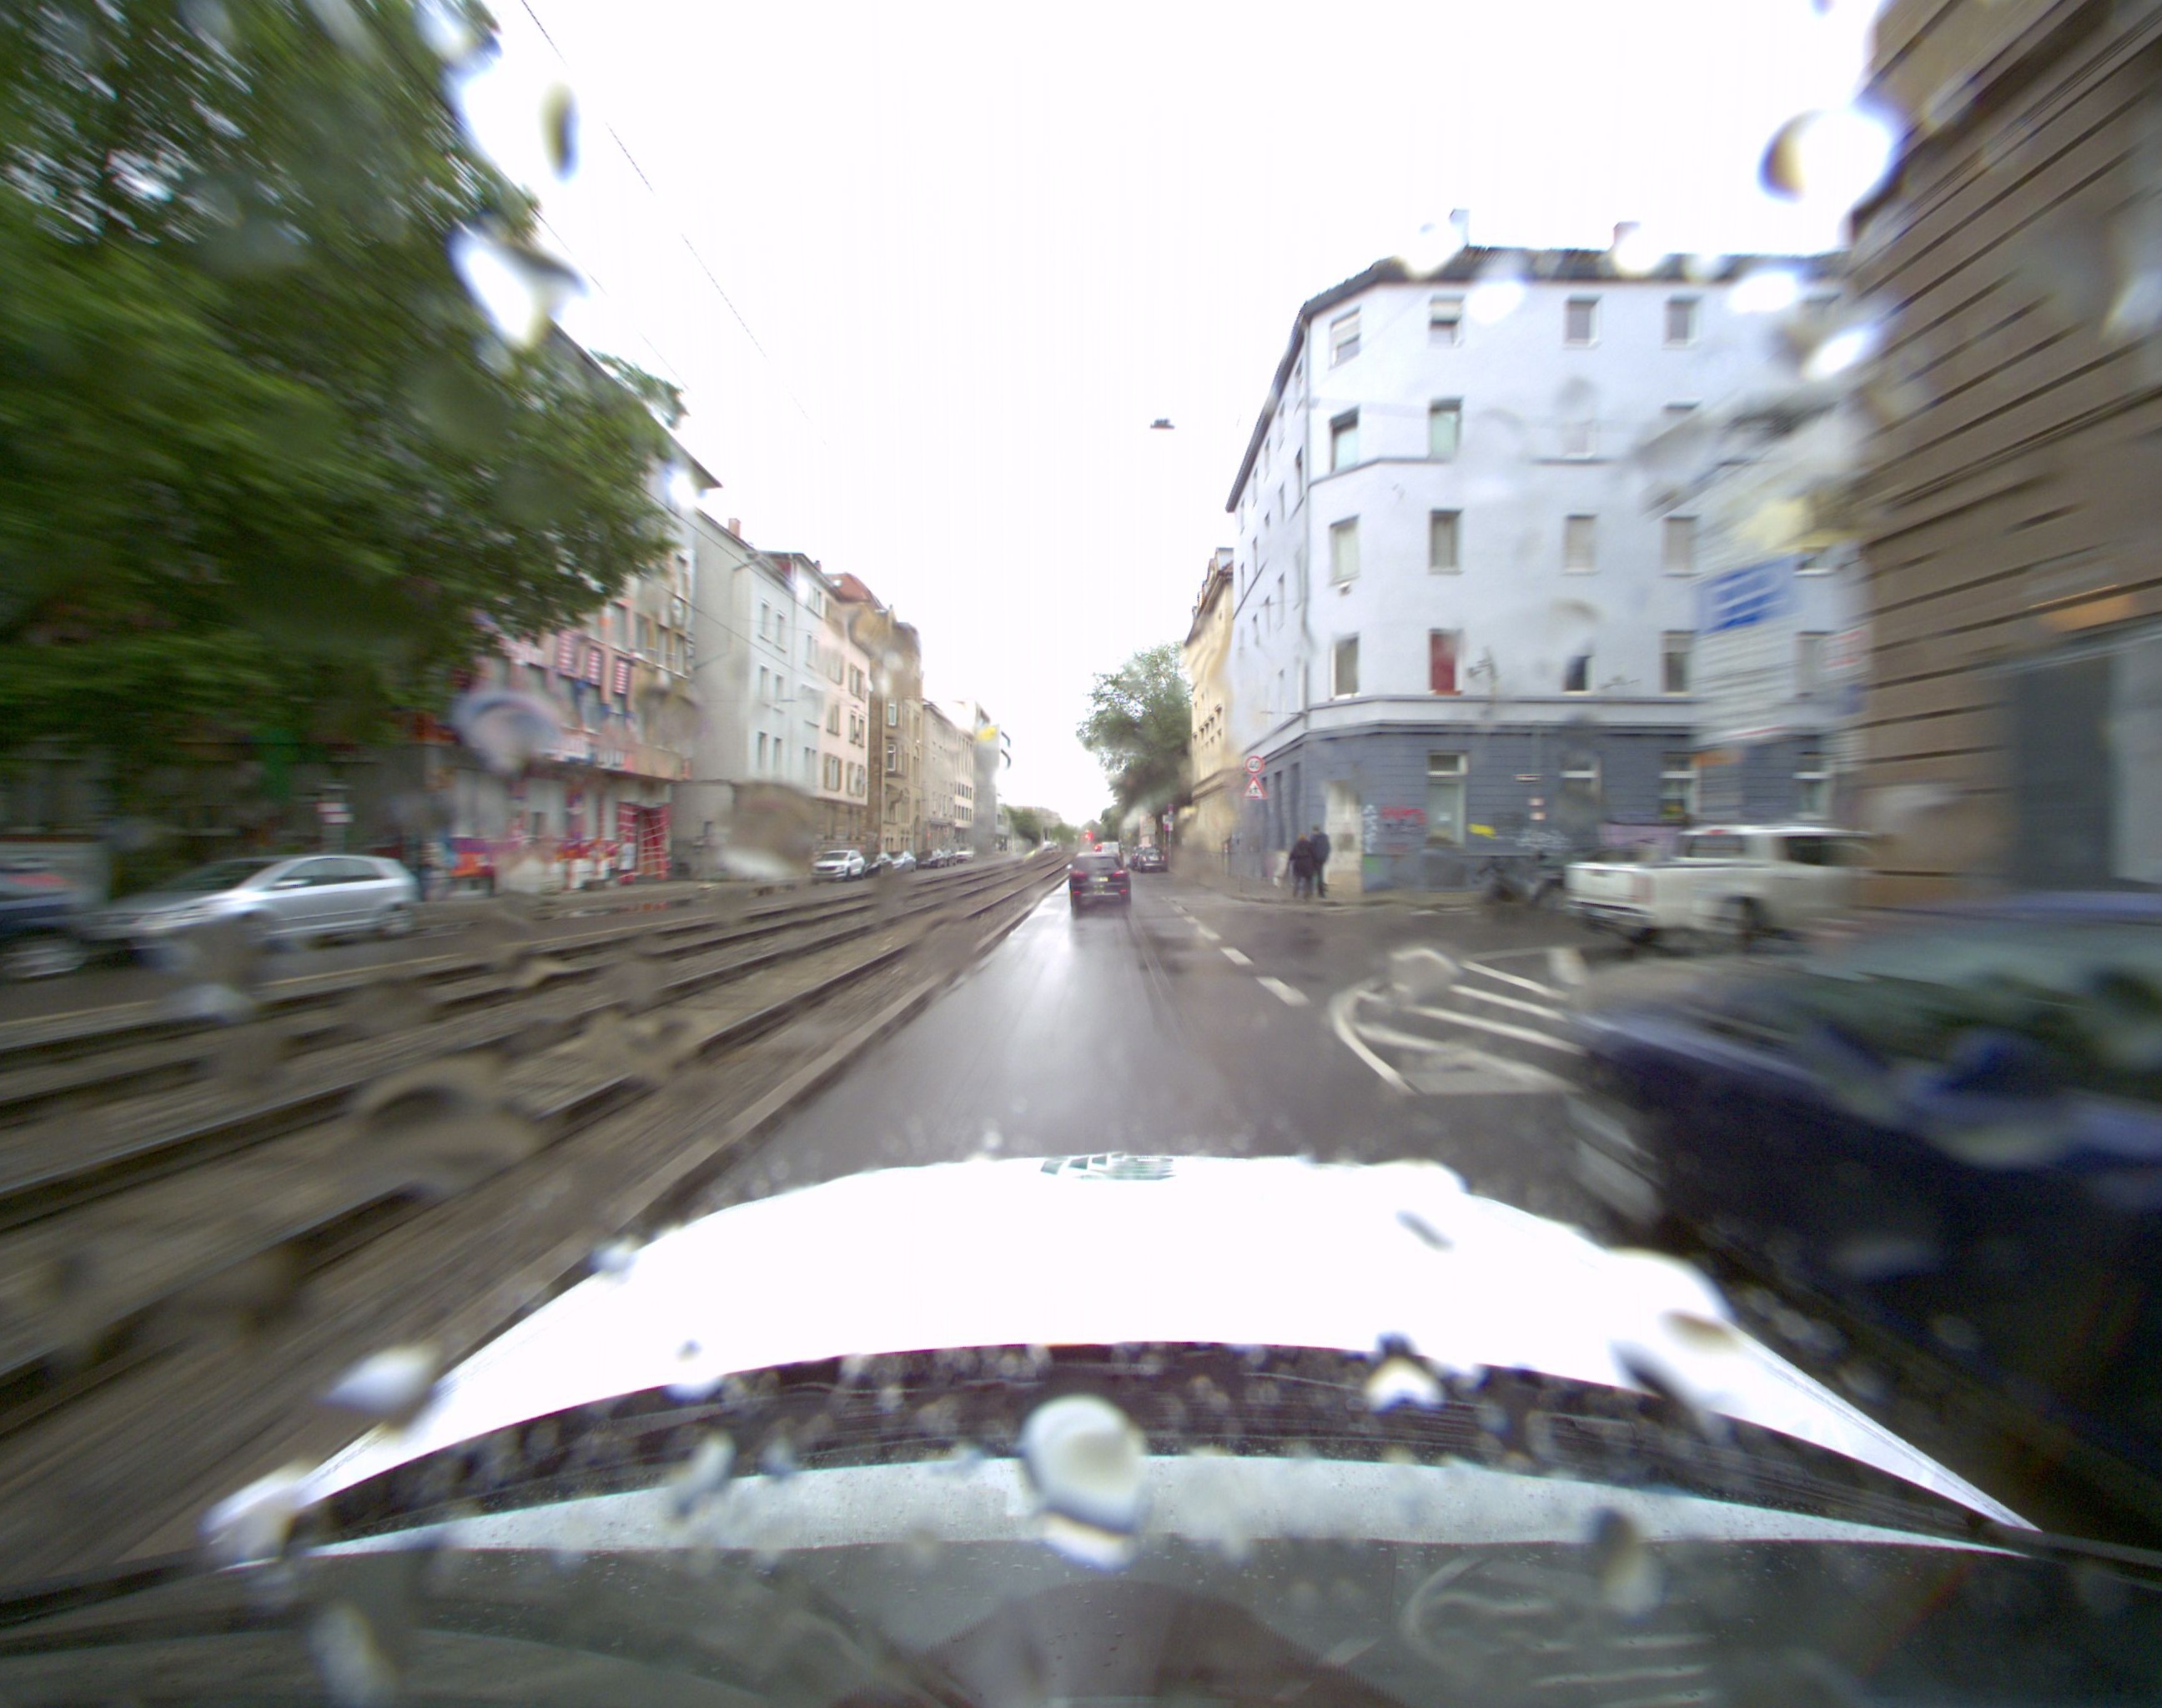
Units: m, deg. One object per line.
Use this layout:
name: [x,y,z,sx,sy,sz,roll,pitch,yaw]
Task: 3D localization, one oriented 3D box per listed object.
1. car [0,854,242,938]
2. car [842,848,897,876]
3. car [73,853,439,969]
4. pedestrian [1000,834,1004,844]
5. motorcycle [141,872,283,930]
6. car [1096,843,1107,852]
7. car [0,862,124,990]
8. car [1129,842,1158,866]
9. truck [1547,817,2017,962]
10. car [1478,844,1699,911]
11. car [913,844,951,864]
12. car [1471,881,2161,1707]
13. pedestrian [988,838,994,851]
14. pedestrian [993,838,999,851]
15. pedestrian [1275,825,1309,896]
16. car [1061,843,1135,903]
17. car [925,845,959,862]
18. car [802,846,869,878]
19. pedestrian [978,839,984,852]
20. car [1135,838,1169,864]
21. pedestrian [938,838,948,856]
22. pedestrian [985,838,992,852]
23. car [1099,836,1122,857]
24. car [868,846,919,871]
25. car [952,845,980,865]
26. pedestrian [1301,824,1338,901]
car: [-20.432,0.772,16.815,1.987,1.454,4.001,-1,1,0]
car: [-12.239,0.431,47.362,1.986,1.519,4.210,1,1,1]
car: [-13.276,0.798,13.566,1.715,1.570,4.221,1,1,1]
pedestrian: [-15.172,-2.907,156.457,0.741,1.853,0.839,0,-1,0]
motorcycle: [-17.769,0.922,16.731,0.637,1.033,2.119,1,1,0]
car: [3.787,-1.241,148.244,1.986,1.594,4.273,0,0,2]
car: [-13.549,0.881,8.622,1.737,1.468,4.221,-1,1,1]
car: [4.109,-0.035,53.825,1.637,1.515,4.040,0,1,1]
truck: [9.738,0.429,11.633,5.045,1.818,2.083,-1,1,-2]
car: [11.556,0.502,18.748,3.970,1.430,1.789,-1,1,3]
car: [-11.544,-0.029,63.385,1.986,1.519,4.677,1,1,1]
car: [2.899,0.966,2.294,1.713,1.515,4.261,0,1,2]
pedestrian: [-13.156,-1.423,118.975,0.741,1.853,0.839,0,-1,0]
pedestrian: [-12.381,-1.382,118.951,0.741,1.853,0.839,0,-1,0]
pedestrian: [5.593,0.154,21.622,0.659,1.852,0.821,0,1,0]
car: [0.539,0.515,24.043,1.986,1.594,4.273,0,0,2]
car: [-11.772,-0.071,69.183,1.986,1.376,4.240,0,1,1]
car: [-12.458,0.368,41.628,1.986,1.519,4.437,1,1,1]
pedestrian: [-13.790,-1.177,112.561,0.741,1.853,0.839,0,-1,0]
car: [4.262,-0.193,49.107,1.733,1.489,4.001,0,1,1]
pedestrian: [-13.771,-0.694,81.110,0.799,1.750,0.984,0,1,0]
pedestrian: [-12.810,-1.239,112.776,0.741,1.853,0.839,0,-1,0]
car: [2.628,-0.665,72.332,1.986,1.816,4.273,0,0,2]
car: [-12.059,0.273,52.769,1.986,1.519,4.994,1,1,1]
car: [-11.344,0.060,80.895,1.987,1.839,5.071,1,1,1]
pedestrian: [6.341,0.219,21.676,0.733,2.013,0.821,0,1,0]
